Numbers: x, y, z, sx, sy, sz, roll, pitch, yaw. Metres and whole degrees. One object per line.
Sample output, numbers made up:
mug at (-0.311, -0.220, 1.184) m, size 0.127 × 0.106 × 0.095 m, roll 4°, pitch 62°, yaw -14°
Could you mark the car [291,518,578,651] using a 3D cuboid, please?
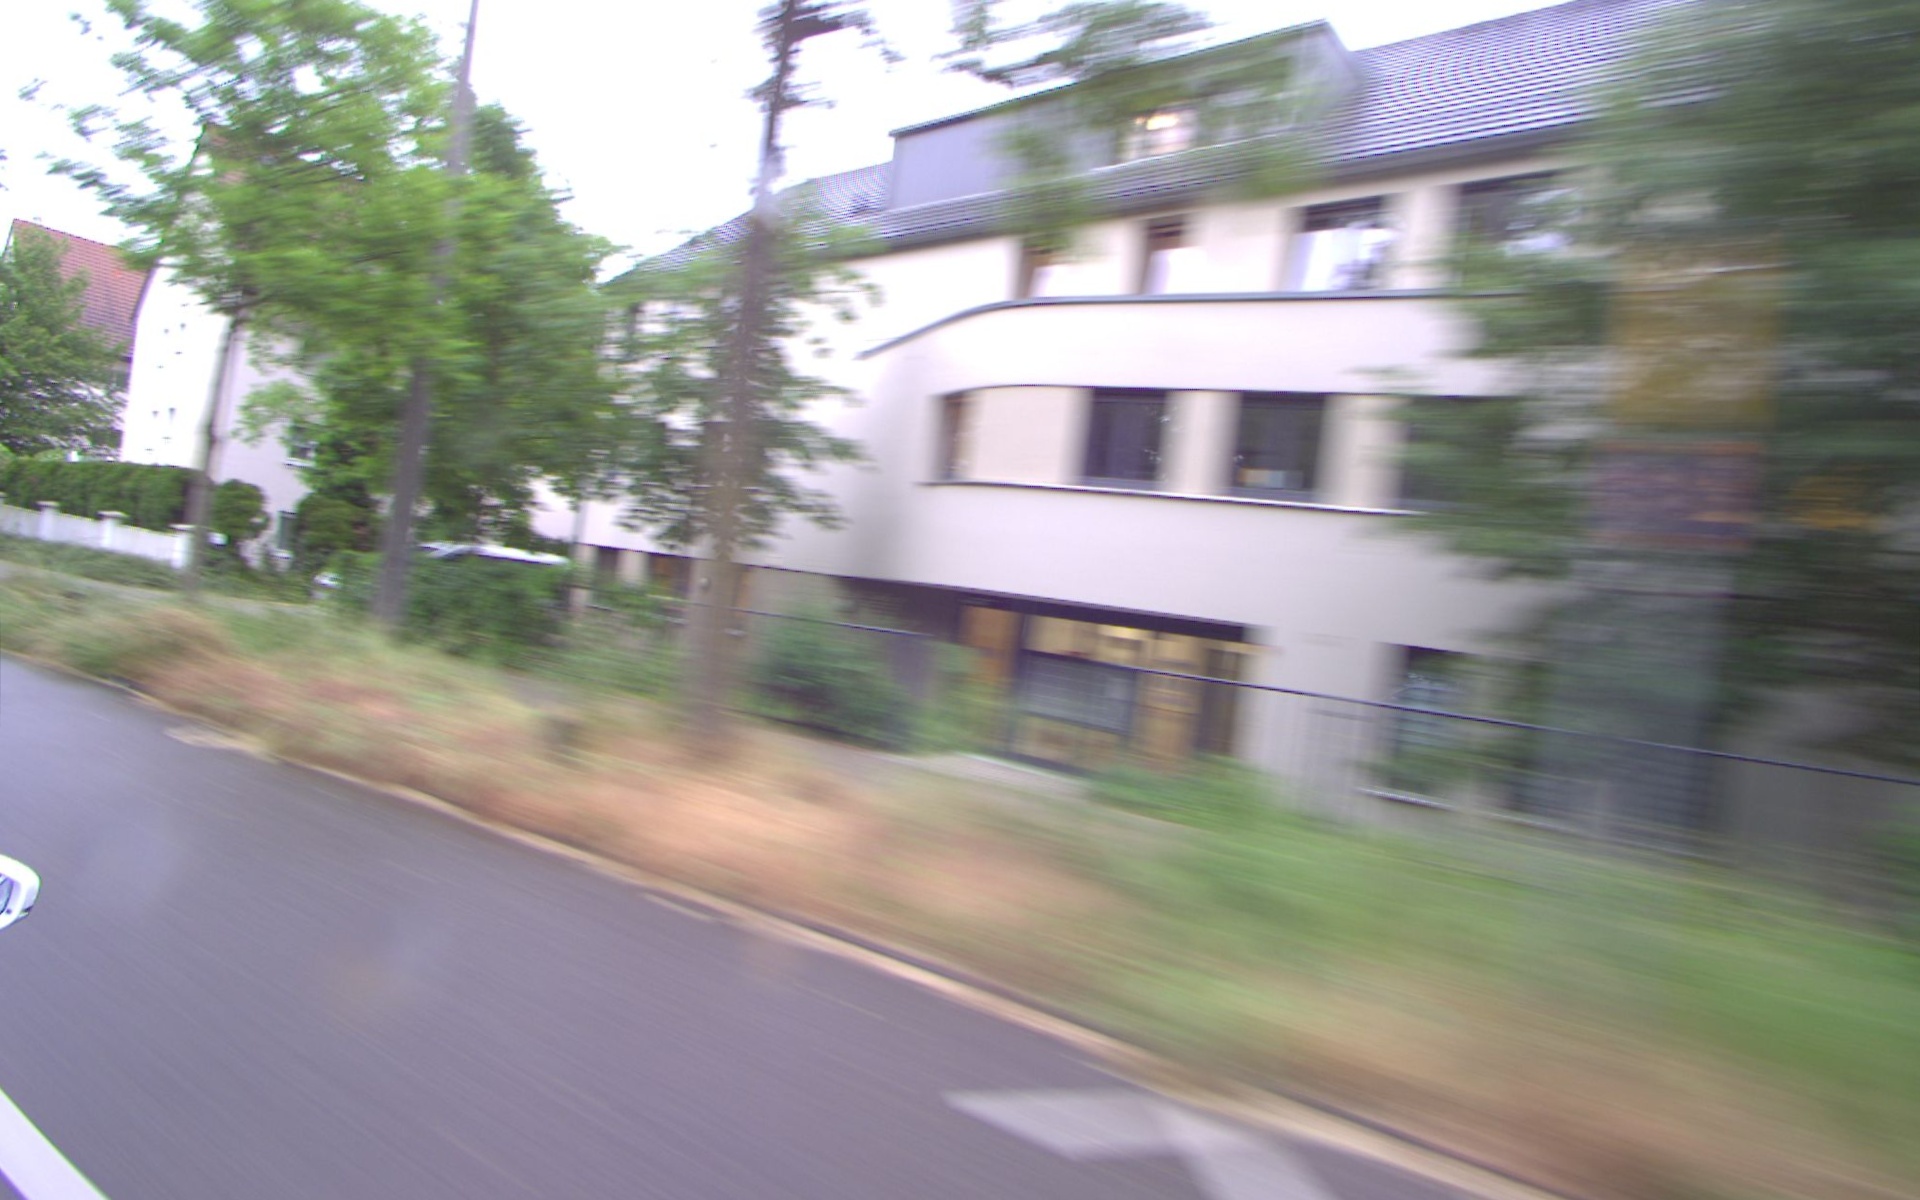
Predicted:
car at (-9.809, -0.231, 19.057) m, size 1.848 × 1.838 × 4.301 m, roll 6°, pitch -3°, yaw 42°
